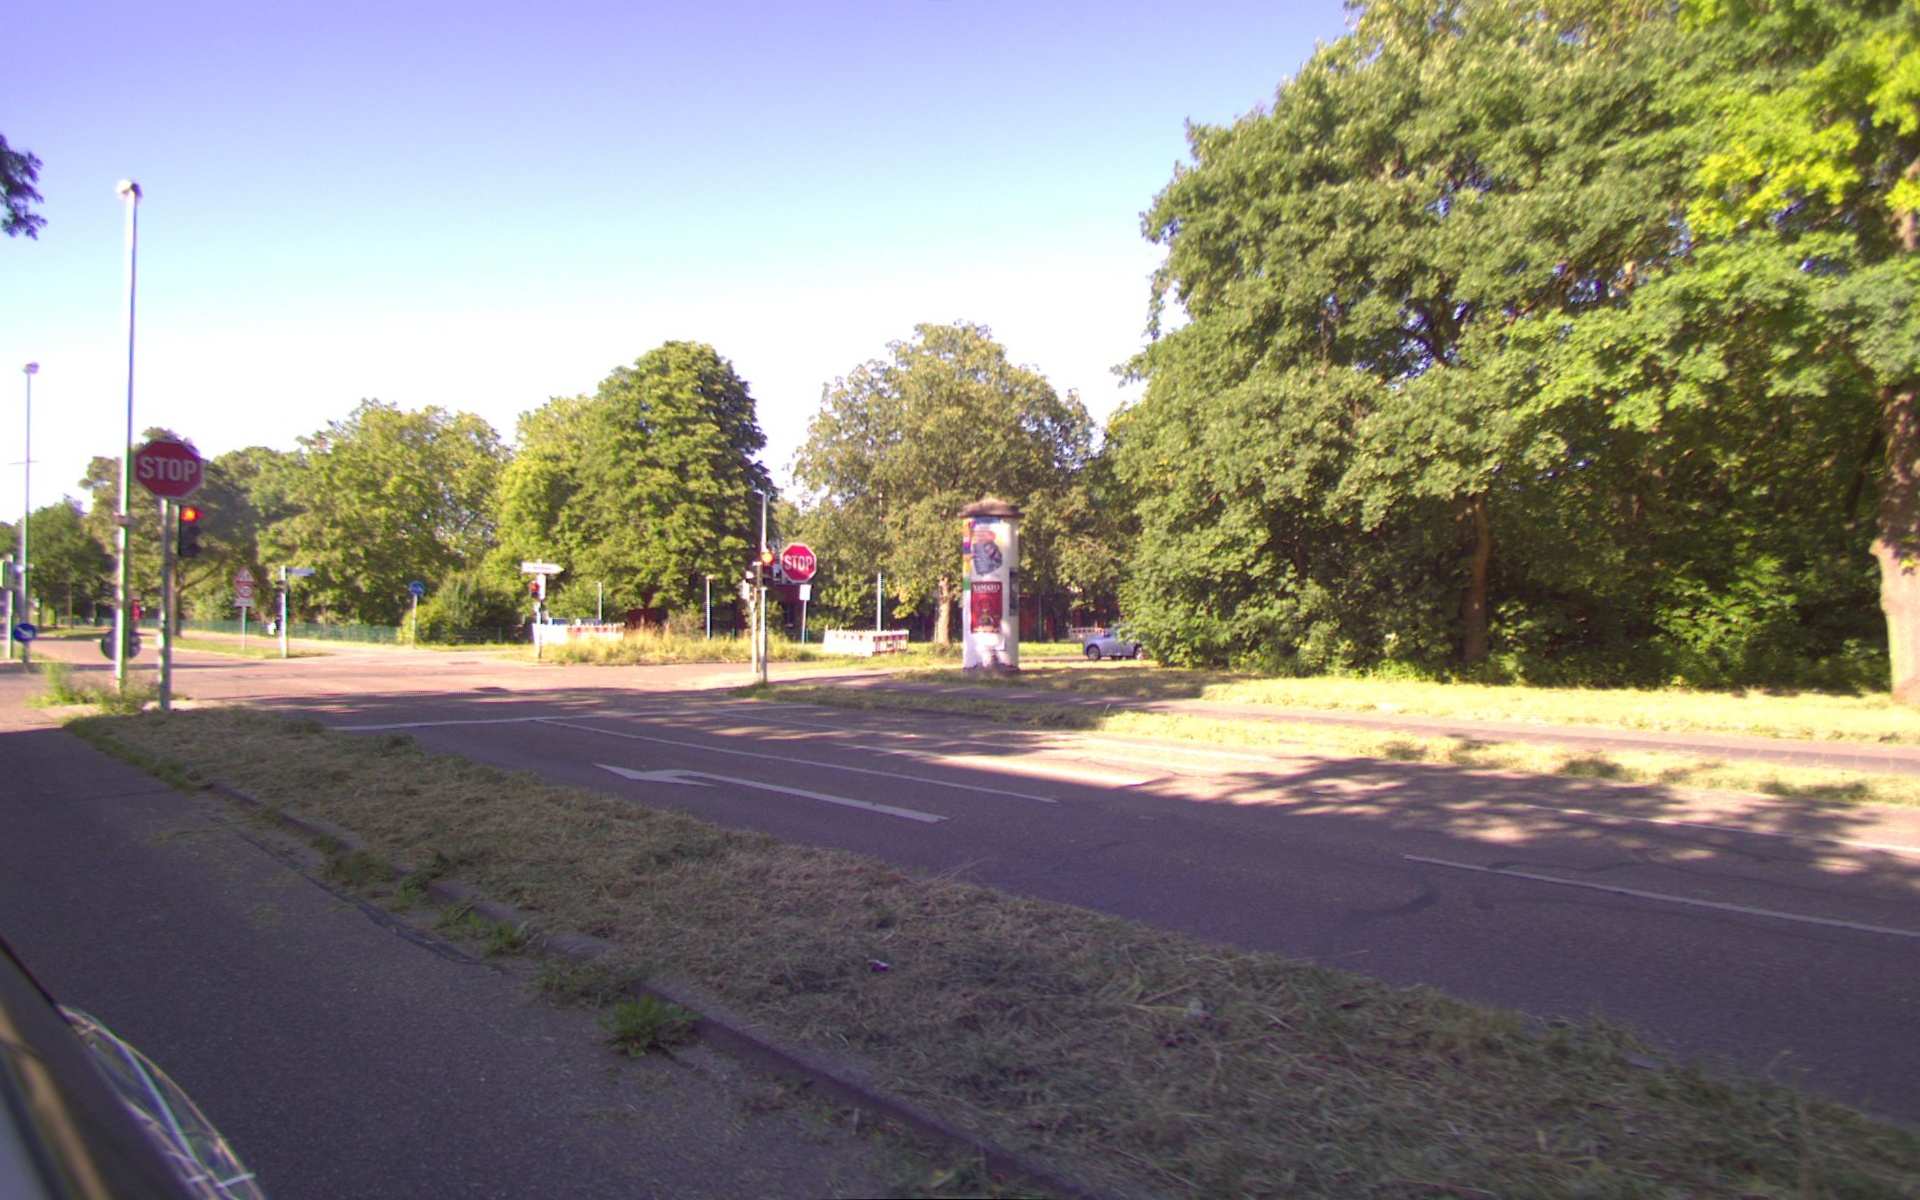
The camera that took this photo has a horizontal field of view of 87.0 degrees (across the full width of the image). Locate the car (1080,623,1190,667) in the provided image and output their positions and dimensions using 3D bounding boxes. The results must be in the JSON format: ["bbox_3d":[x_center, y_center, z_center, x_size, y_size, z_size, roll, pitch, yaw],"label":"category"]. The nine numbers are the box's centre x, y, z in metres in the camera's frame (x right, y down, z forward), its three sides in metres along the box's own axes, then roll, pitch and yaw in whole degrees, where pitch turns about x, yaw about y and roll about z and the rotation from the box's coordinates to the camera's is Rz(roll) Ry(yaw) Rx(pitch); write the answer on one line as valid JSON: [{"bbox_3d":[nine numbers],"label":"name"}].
[{"bbox_3d":[7.461,1.882,43.464,1.826,1.796,4.520,2,-2,-41],"label":"car"}]
